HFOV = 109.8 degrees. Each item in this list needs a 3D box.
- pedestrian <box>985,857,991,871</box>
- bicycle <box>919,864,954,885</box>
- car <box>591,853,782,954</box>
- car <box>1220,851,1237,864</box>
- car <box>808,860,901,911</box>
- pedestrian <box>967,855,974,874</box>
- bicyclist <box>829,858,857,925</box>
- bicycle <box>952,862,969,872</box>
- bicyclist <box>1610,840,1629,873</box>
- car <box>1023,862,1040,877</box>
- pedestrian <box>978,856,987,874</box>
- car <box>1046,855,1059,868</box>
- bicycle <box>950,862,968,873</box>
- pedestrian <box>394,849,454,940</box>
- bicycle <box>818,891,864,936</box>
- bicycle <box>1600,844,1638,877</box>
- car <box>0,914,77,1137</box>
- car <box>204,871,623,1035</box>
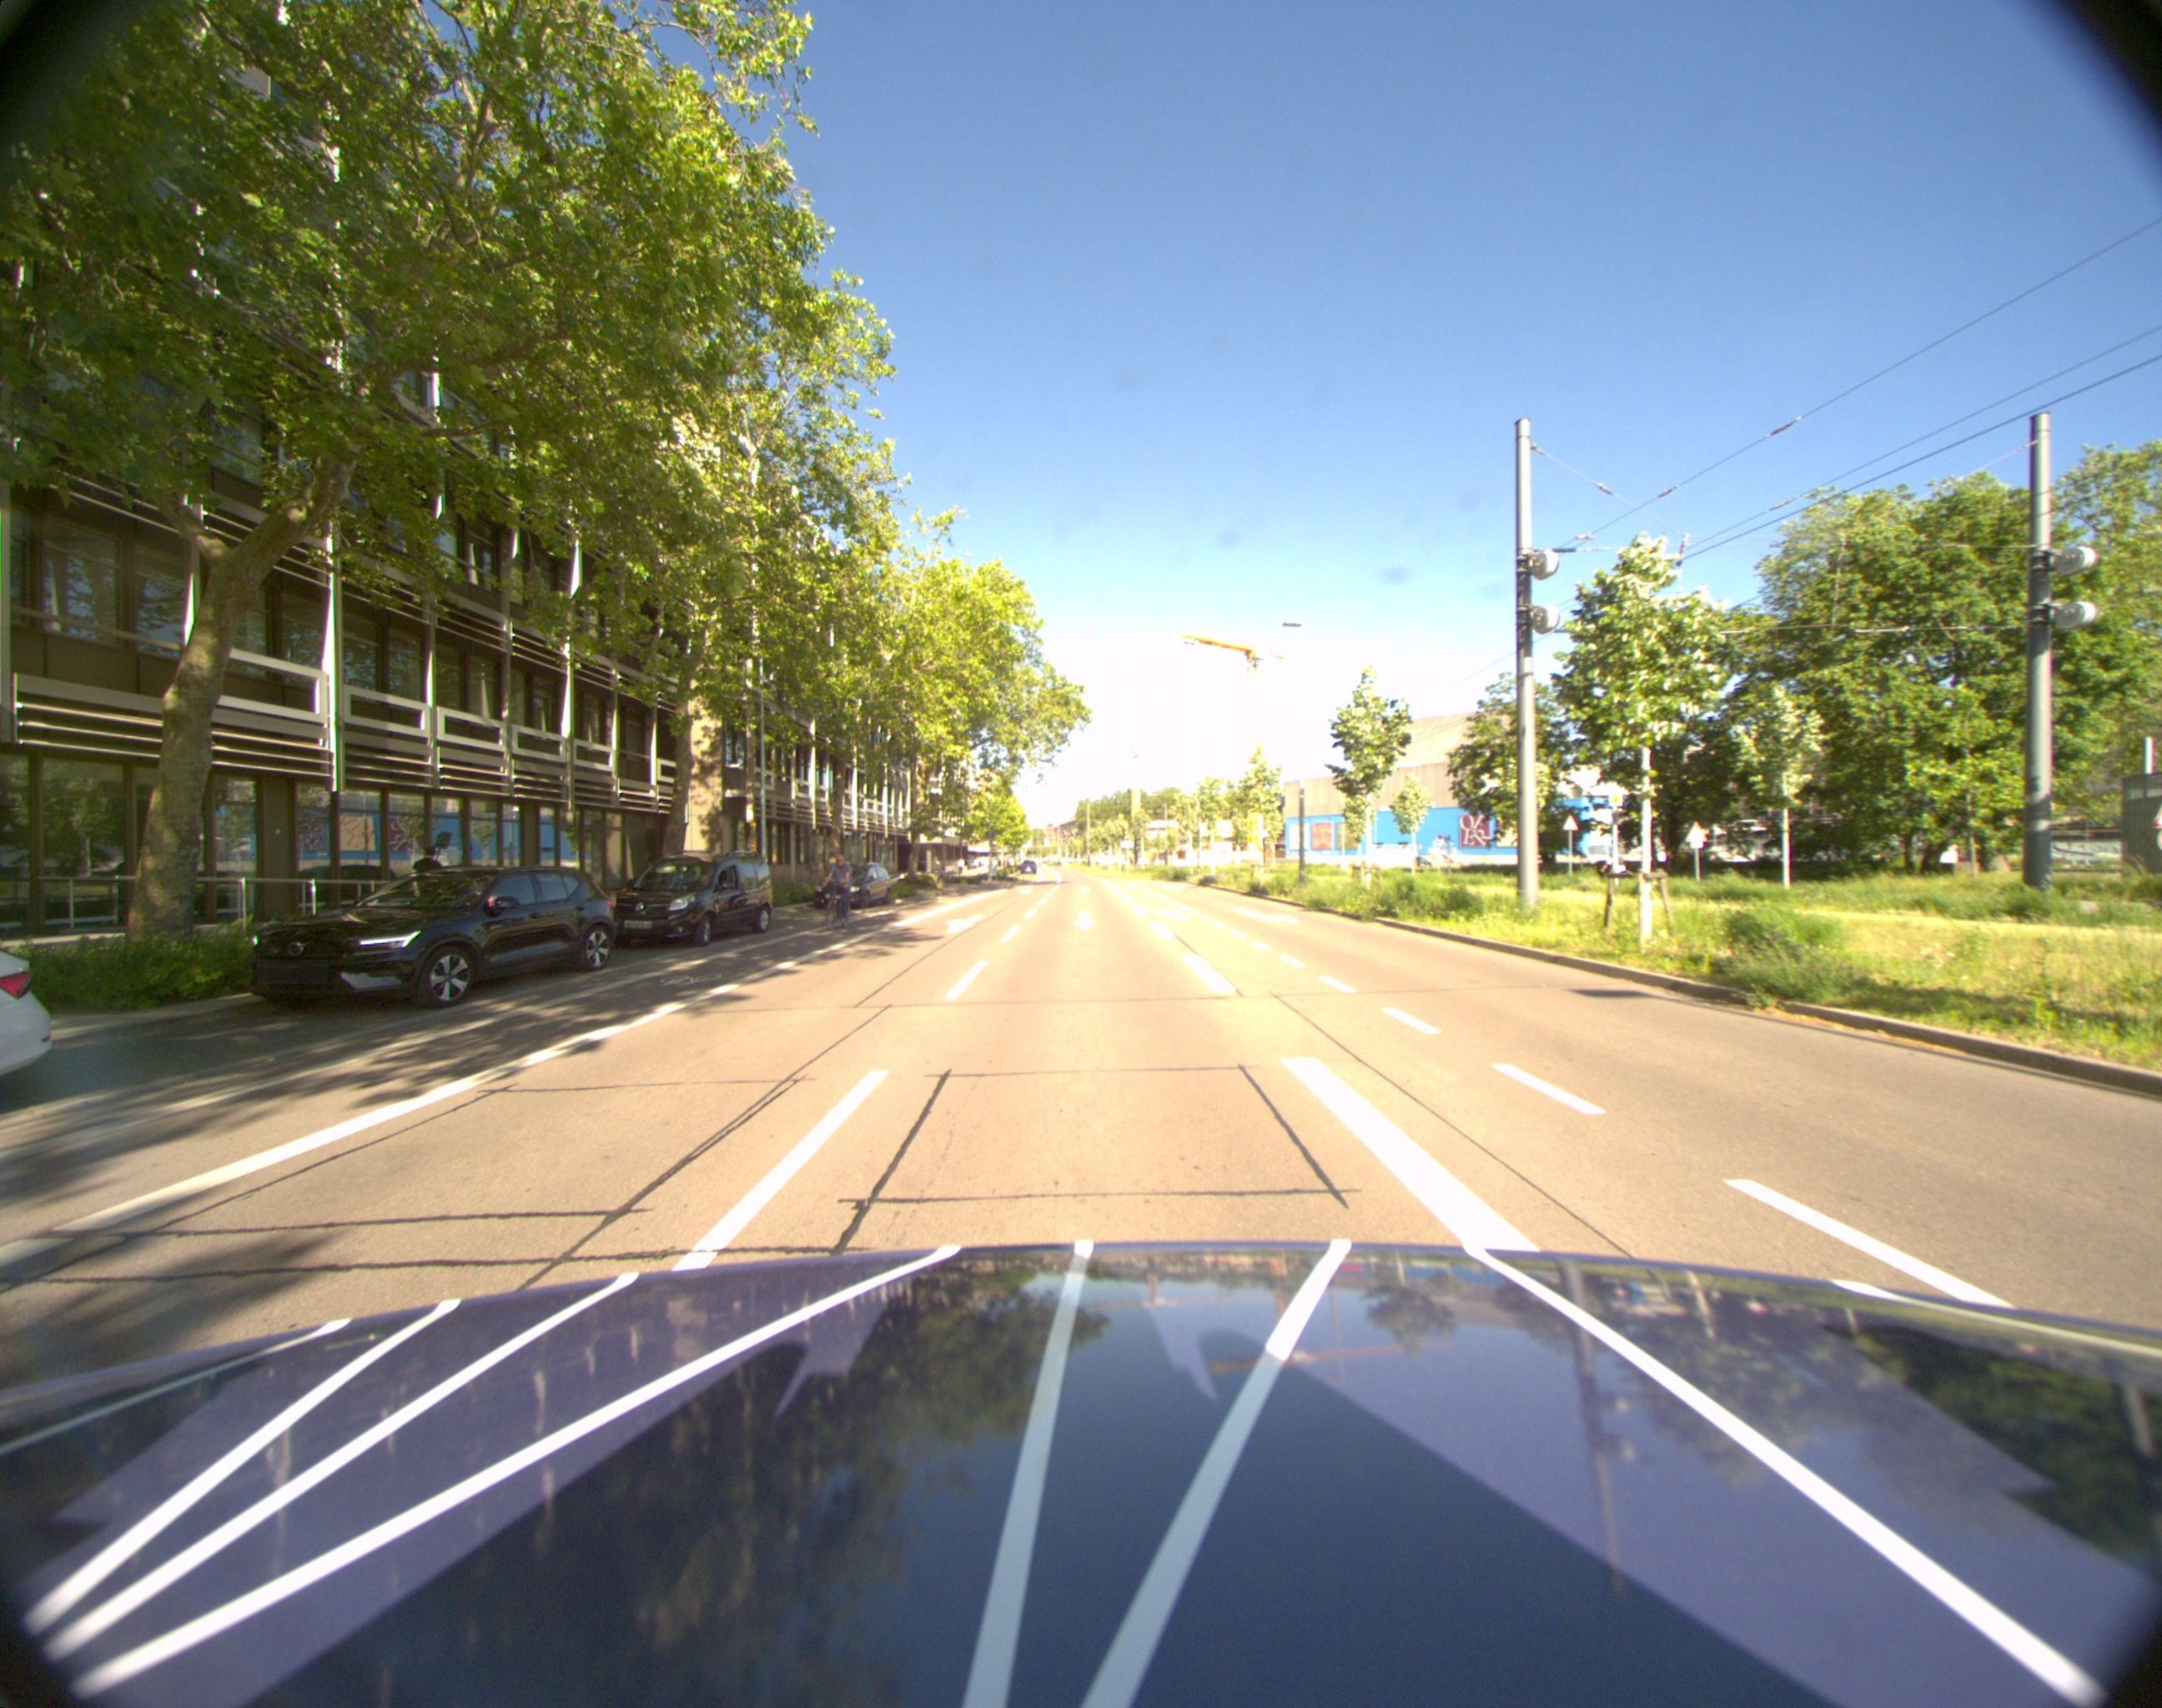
[{"bbox_3d":[-9.951,1.072,81.268,0.512,1.466,0.736,-1,0,0],"label":"pedestrian"},{"bbox_3d":[-8.641,1.212,45.498,1.942,1.229,0.579,1,0,-3],"label":"bicycle"},{"bbox_3d":[-7.908,0.902,15.740,1.708,1.779,4.192,1,0,1],"label":"car"},{"bbox_3d":[22.886,0.519,118.005,1.802,1.787,3.999,-3,1,1],"label":"car"},{"bbox_3d":[-7.932,1.046,27.083,1.708,1.633,4.637,1,0,2],"label":"car"},{"bbox_3d":[-9.771,0.947,67.073,0.512,1.691,0.774,-1,0,0],"label":"pedestrian"},{"bbox_3d":[-5.773,0.889,18.427,0.514,1.592,0.536,-1,1,-4],"label":"bicyclist"},{"bbox_3d":[-13.202,1.453,83.296,1.862,1.005,0.427,2,1,1],"label":"bicycle"},{"bbox_3d":[24.315,0.118,34.306,0.395,1.446,0.539,-3,1,-1],"label":"bicyclist"},{"bbox_3d":[-5.824,1.839,90.443,1.854,1.647,4.847,1,0,-2],"label":"car"},{"bbox_3d":[-9.519,1.073,73.421,0.649,1.718,0.803,-1,0,0],"label":"pedestrian"},{"bbox_3d":[-4.499,1.145,119.502,1.822,1.783,3.999,-3,1,1],"label":"car"},{"bbox_3d":[-13.145,1.427,81.859,1.862,1.091,0.427,2,1,1],"label":"bicycle"},{"bbox_3d":[-14.098,0.852,16.324,0.678,1.905,0.557,-3,1,1],"label":"pedestrian"},{"bbox_3d":[-5.717,1.393,18.205,0.499,0.900,2.196,-2,0,-4],"label":"bicycle"},{"bbox_3d":[24.332,0.292,34.401,0.361,1.447,1.914,-1,0,1],"label":"bicycle"},{"bbox_3d":[-8.187,1.178,3.222,1.708,1.484,4.600,-1,0,1],"label":"car"},{"bbox_3d":[-8.118,1.068,9.902,1.708,1.554,4.192,-1,0,1],"label":"car"}]
